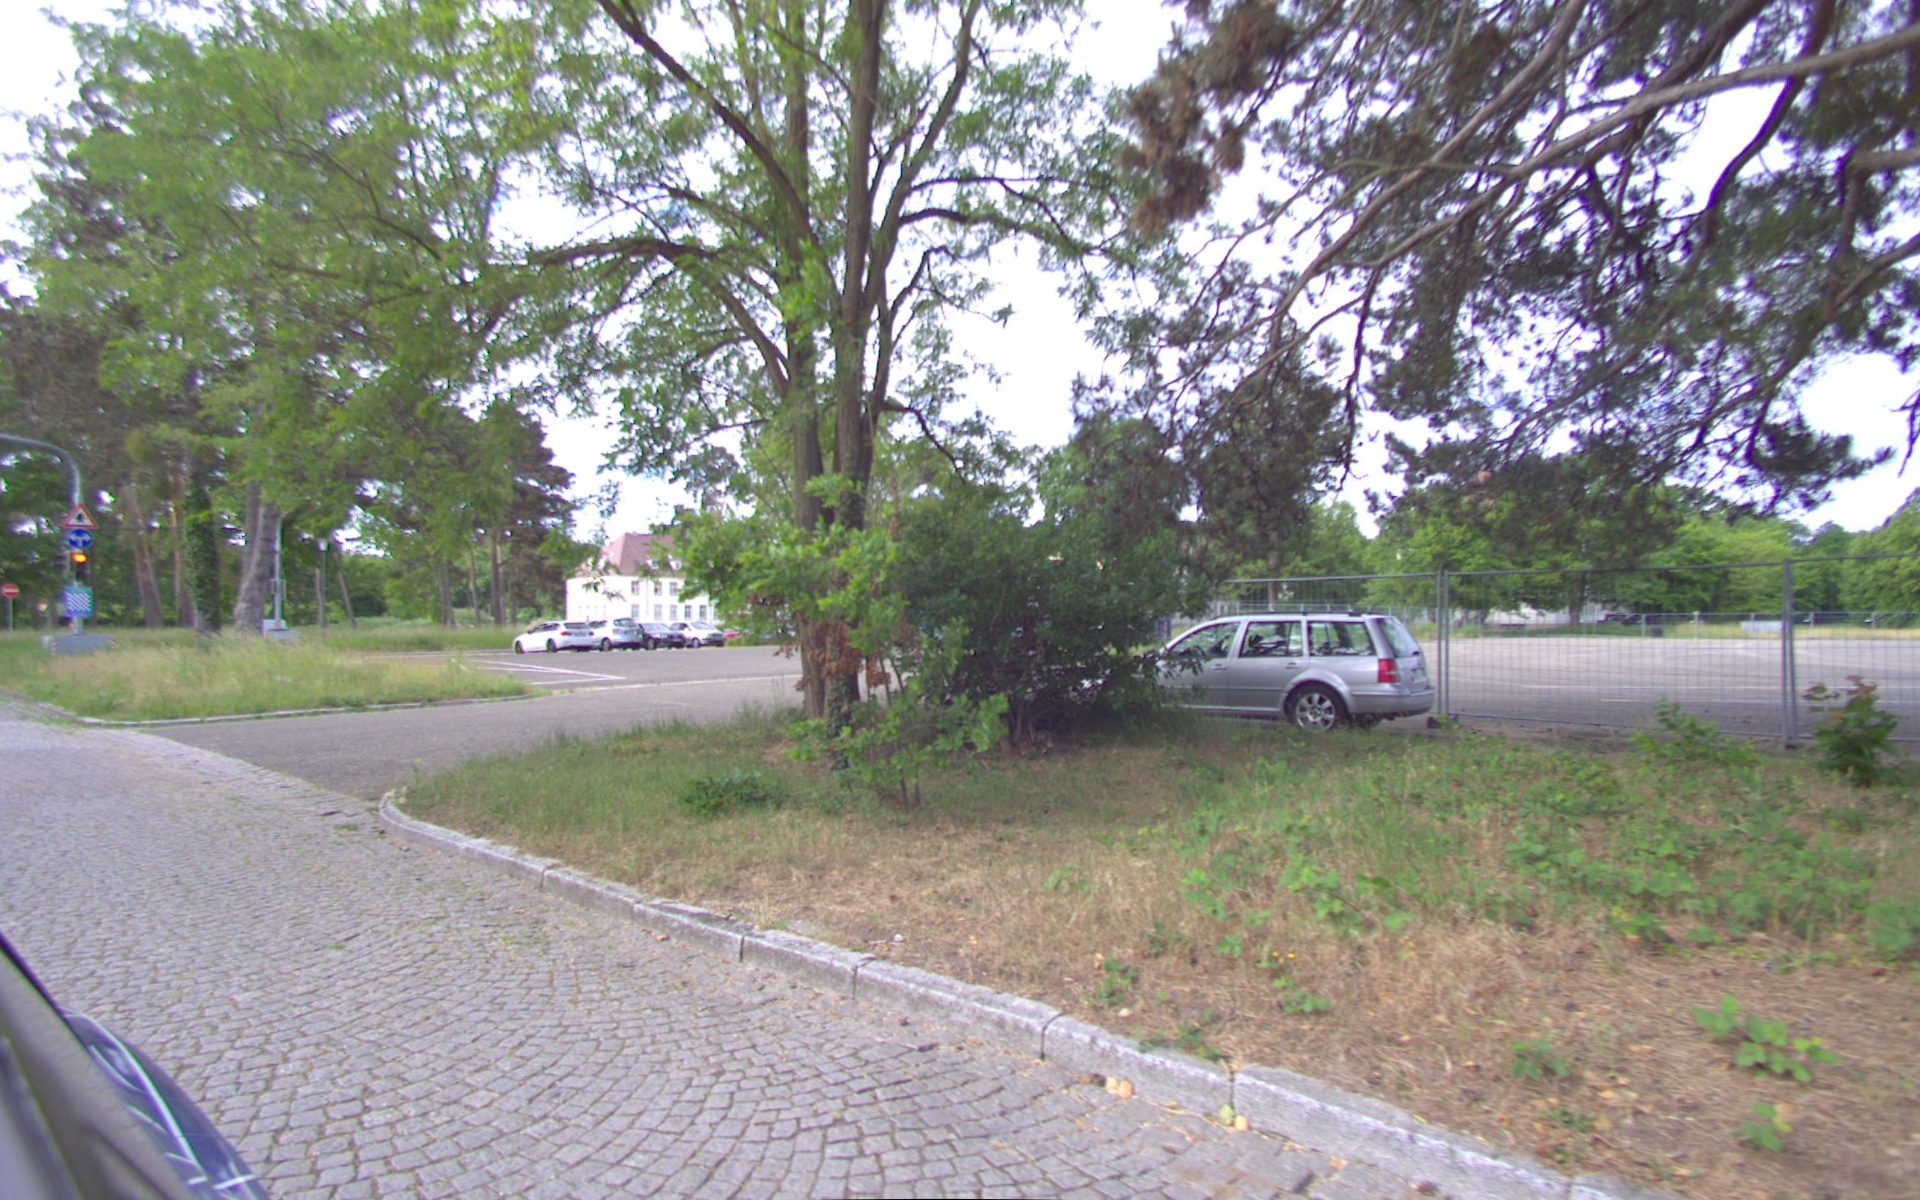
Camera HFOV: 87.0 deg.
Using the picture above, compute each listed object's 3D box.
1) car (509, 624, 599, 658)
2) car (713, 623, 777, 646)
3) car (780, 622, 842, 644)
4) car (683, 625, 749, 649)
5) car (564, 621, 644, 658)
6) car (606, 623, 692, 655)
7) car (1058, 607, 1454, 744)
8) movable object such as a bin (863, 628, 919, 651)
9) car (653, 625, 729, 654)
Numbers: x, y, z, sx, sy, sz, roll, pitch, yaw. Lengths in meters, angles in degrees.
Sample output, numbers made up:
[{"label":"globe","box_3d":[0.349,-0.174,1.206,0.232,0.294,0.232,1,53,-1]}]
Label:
[{"label":"car","box_3d":[-18.061,1.805,44.910,4.314,1.436,1.807,-2,-2,38]},{"label":"car","box_3d":[-14.354,2.315,67.372,4.396,1.486,1.807,-2,-2,38]},{"label":"car","box_3d":[-10.569,2.347,71.713,4.394,1.486,1.808,-2,-2,36]},{"label":"car","box_3d":[-15.720,2.369,65.220,4.396,1.486,1.807,-2,-2,38]},{"label":"car","box_3d":[-16.503,1.834,46.835,3.893,1.532,1.654,-4,-3,38]},{"label":"car","box_3d":[-15.129,1.871,49.104,4.396,1.486,1.807,-2,-2,38]},{"label":"car","box_3d":[3.575,0.885,12.664,4.416,1.427,1.807,-2,-4,39]},{"label":"movable object such as a bin","box_3d":[-2.993,1.701,43.865,1.952,0.976,1.431,-1,-2,33]},{"label":"car","box_3d":[-13.716,2.005,51.528,4.032,1.410,1.617,-2,-2,38]}]
